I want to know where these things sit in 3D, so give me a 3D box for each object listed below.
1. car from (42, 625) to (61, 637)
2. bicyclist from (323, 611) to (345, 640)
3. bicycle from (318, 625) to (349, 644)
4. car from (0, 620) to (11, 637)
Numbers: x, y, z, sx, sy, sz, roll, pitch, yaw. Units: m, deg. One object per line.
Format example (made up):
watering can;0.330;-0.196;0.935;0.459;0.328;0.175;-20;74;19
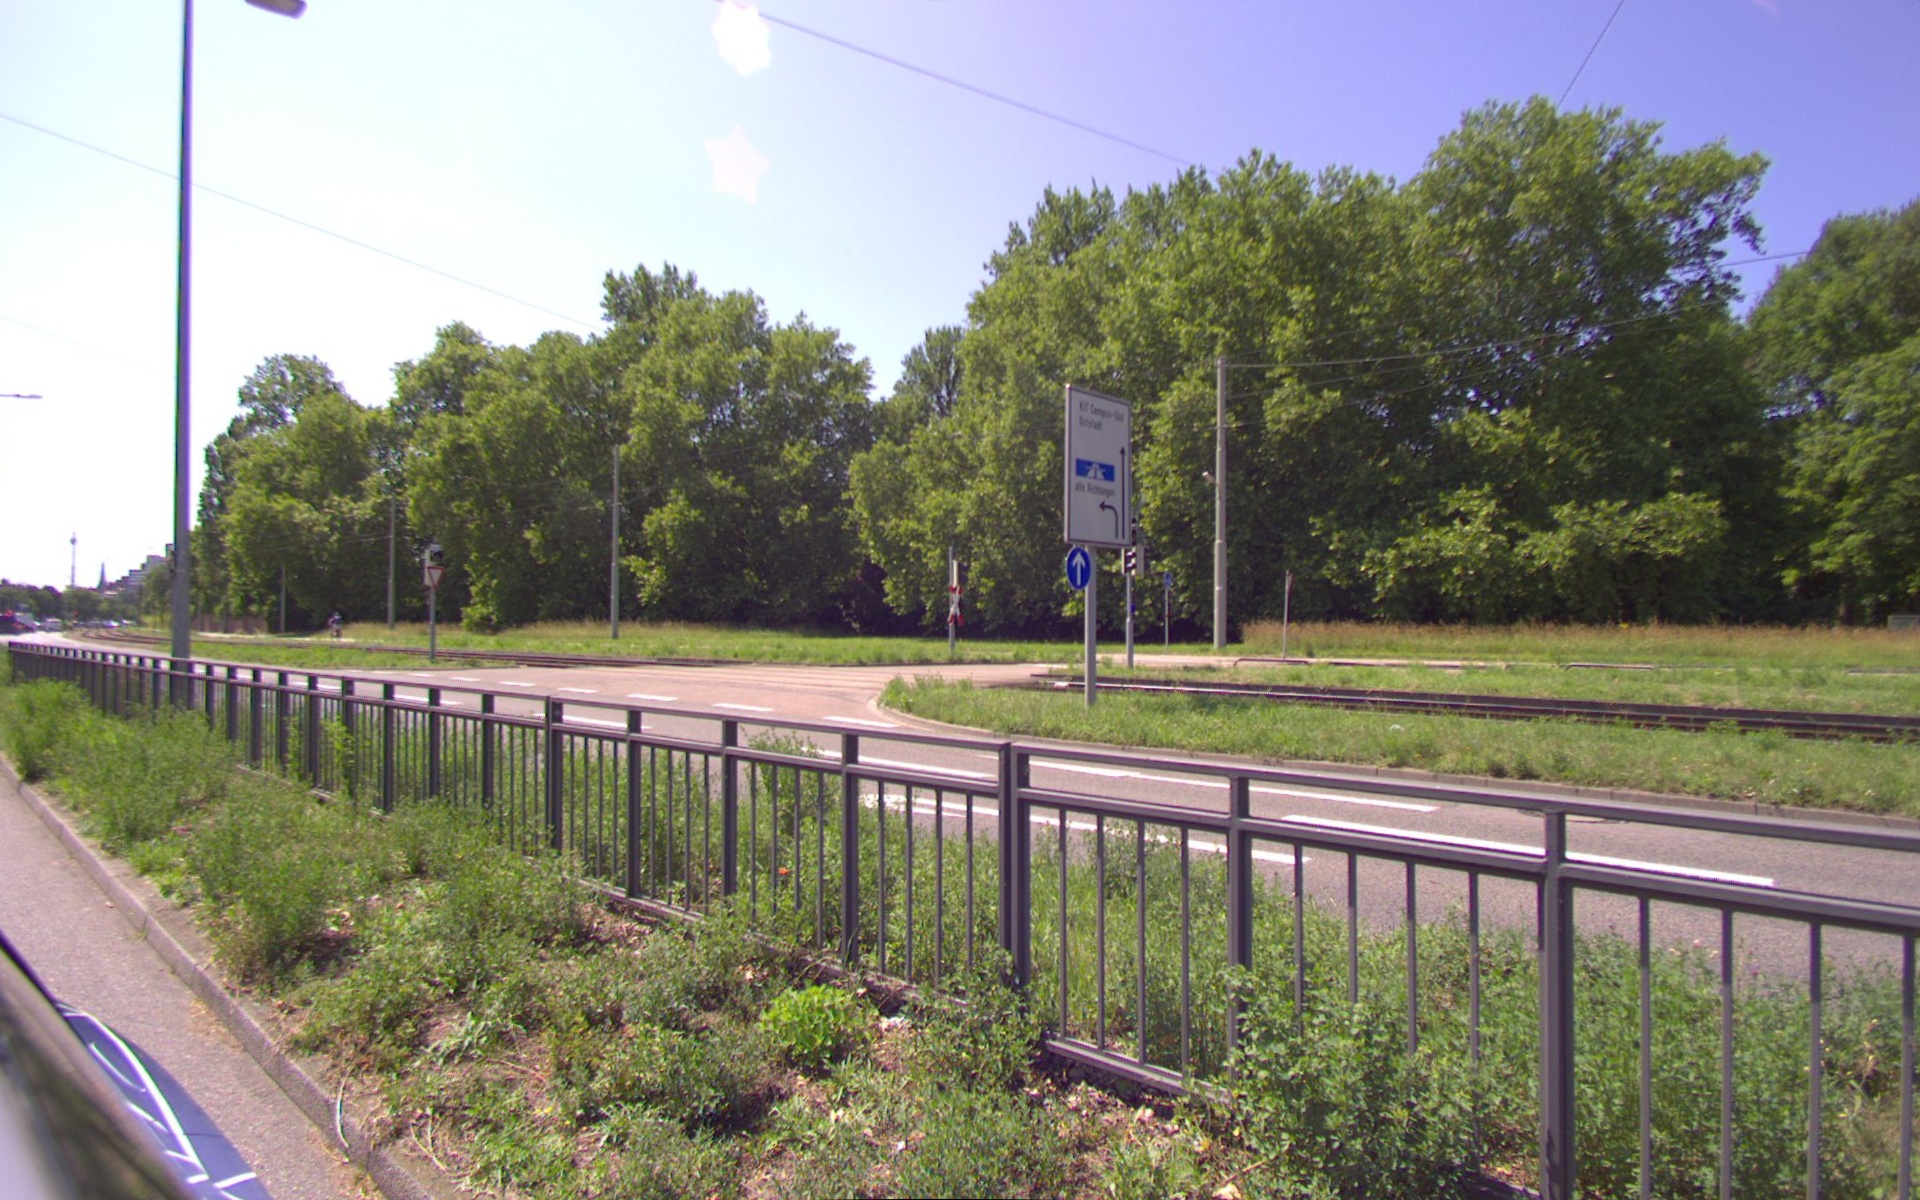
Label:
car;-136.264;4.617;151.746;1.970;1.871;4.003;1;-2;-44
bicyclist;-39.470;1.591;63.821;1.117;1.820;0.851;-1;-2;41
bicycle;-39.524;2.171;63.824;2.785;1.171;0.851;-1;-2;41
car;-107.490;3.196;113.140;1.970;1.871;4.004;1;-2;-43
